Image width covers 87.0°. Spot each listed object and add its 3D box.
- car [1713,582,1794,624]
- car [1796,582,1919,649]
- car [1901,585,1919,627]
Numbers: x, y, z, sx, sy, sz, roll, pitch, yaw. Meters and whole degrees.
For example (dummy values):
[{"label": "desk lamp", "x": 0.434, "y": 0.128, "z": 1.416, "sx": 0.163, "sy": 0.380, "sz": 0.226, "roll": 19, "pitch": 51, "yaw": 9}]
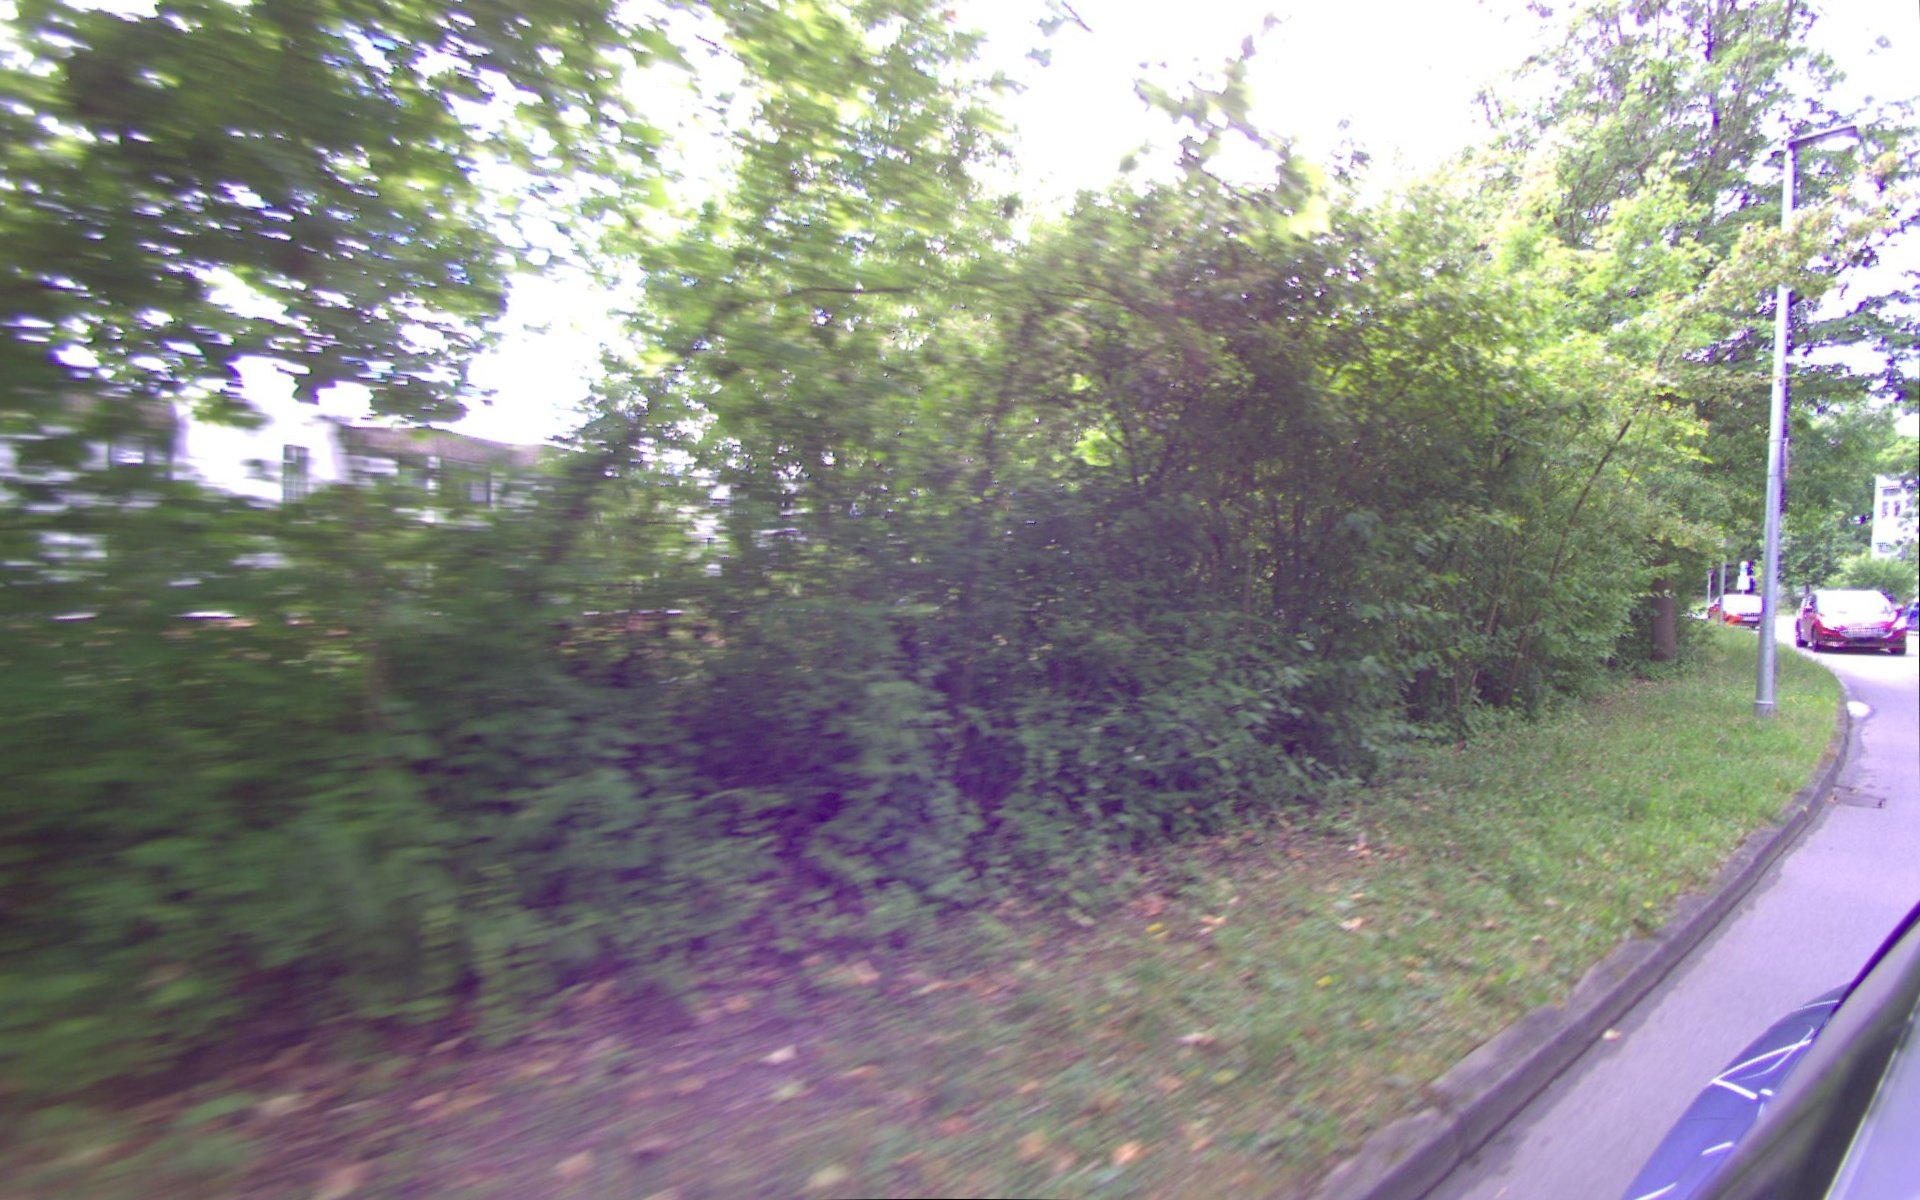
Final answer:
[{"label": "car", "x": 33.418, "y": 0.099, "z": 42.735, "sx": 1.982, "sy": 1.593, "sz": 3.960, "roll": 3, "pitch": 2, "yaw": 28}, {"label": "car", "x": 24.363, "y": 0.362, "z": 27.456, "sx": 1.847, "sy": 1.638, "sz": 4.428, "roll": 1, "pitch": 1, "yaw": 30}, {"label": "car", "x": 35.785, "y": 0.263, "z": 36.425, "sx": 1.670, "sy": 1.530, "sz": 4.388, "roll": 2, "pitch": 2, "yaw": 28}]
